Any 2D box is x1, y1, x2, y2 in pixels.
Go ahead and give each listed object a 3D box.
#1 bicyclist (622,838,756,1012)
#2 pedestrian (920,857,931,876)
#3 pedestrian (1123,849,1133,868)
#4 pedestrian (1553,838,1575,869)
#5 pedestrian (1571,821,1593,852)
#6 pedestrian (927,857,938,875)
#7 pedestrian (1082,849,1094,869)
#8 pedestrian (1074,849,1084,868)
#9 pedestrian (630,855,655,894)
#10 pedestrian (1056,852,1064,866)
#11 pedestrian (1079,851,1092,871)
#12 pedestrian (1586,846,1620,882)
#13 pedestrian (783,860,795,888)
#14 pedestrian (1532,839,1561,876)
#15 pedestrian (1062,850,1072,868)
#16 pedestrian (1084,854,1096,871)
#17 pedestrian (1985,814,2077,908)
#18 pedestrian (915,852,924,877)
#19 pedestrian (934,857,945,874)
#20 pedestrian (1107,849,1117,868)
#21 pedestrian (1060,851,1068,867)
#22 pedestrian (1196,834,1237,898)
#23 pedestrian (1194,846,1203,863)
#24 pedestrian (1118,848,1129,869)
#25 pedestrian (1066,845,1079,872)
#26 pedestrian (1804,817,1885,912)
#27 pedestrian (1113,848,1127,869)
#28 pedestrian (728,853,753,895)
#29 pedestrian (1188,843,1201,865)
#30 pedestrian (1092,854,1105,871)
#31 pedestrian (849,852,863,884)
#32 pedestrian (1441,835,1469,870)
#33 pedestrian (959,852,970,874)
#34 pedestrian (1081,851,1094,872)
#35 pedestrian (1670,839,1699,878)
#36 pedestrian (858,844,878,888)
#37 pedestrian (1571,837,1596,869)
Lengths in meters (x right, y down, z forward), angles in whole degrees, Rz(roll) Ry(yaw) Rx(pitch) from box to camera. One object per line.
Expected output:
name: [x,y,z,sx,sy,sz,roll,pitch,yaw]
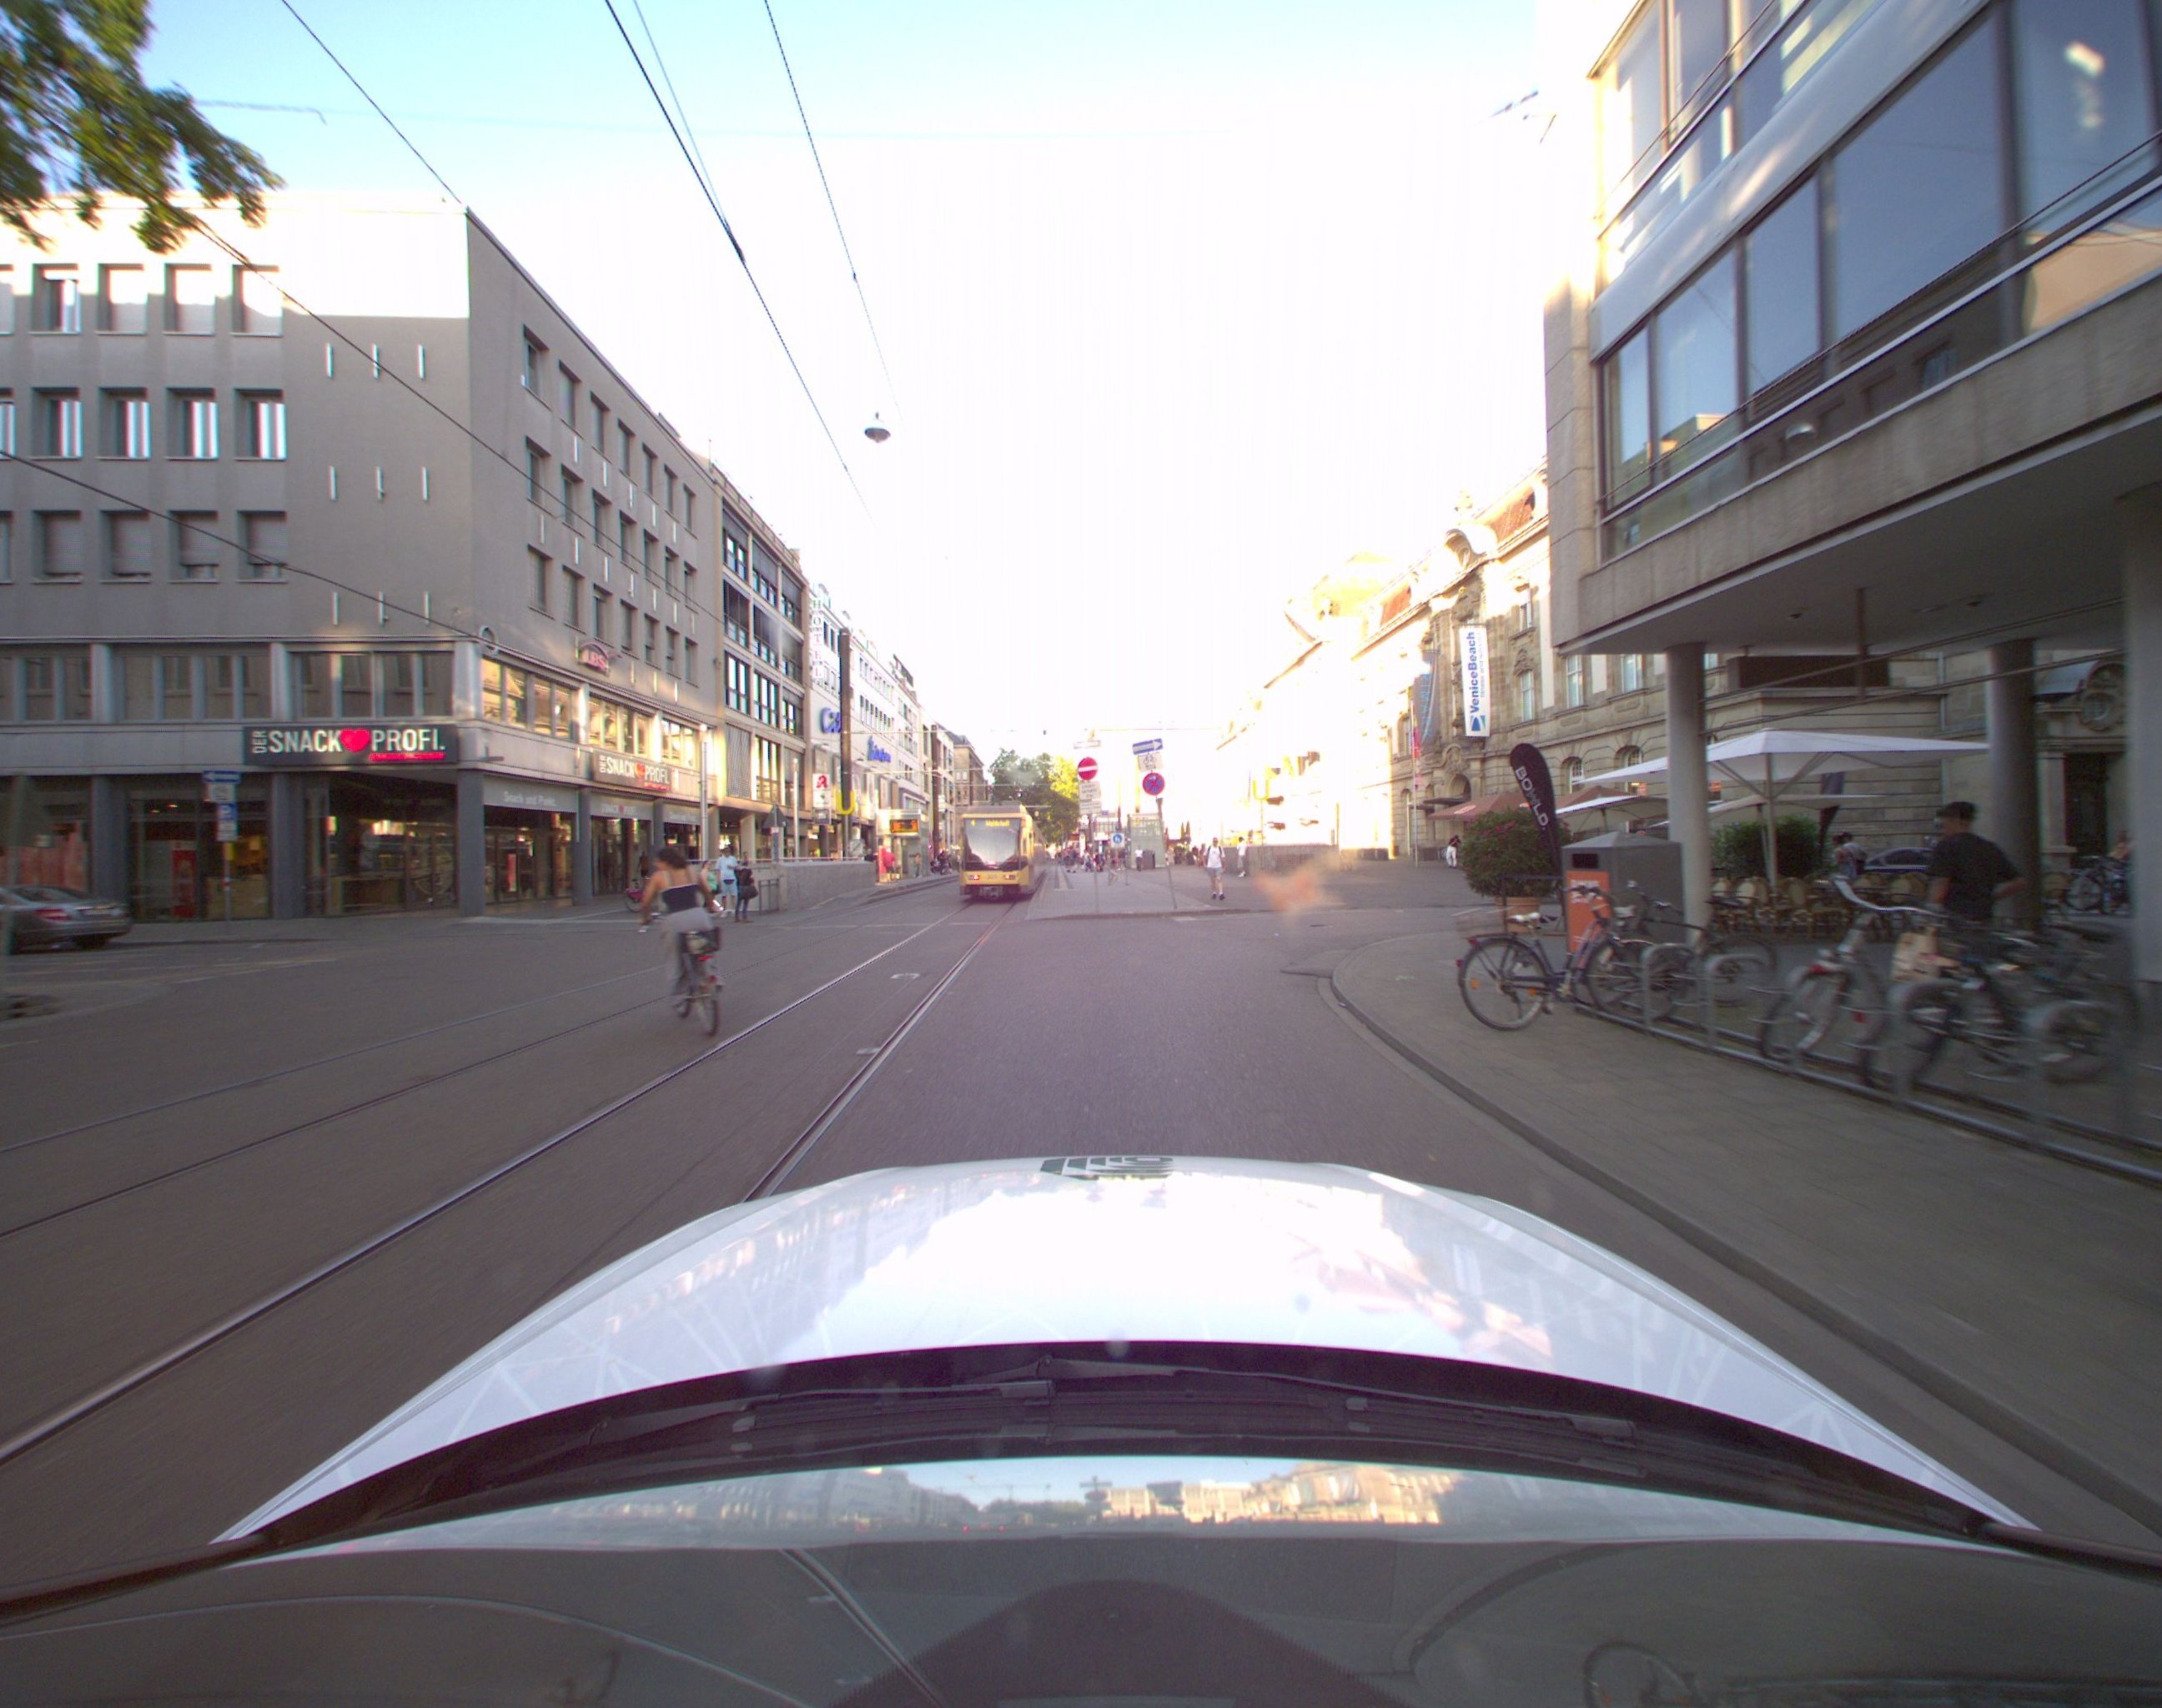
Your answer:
bicyclist: [-3.693,0.622,7.665,1.004,1.502,0.848,1,-2,-35]
pedestrian: [-11.276,0.887,59.054,0.705,1.379,0.720,-1,-1,-3]
pedestrian: [4.092,0.378,71.303,0.787,1.661,0.771,-1,0,10]
pedestrian: [20.981,-0.014,35.385,0.591,1.308,0.581,-1,2,-7]
pedestrian: [21.662,-0.764,35.215,0.591,1.308,0.581,-1,2,-4]
pedestrian: [-11.173,0.898,61.159,0.705,1.379,0.720,-1,-1,-3]
pedestrian: [0.583,0.390,67.481,0.787,1.661,0.771,-1,0,10]
pedestrian: [-0.185,0.426,72.243,0.787,1.661,0.771,-1,0,10]
pedestrian: [-19.405,0.899,36.078,0.712,1.725,0.708,-1,-1,-4]
pedestrian: [-2.456,0.585,95.158,0.762,1.661,0.796,-1,0,7]
pedestrian: [0.335,0.593,66.958,0.759,1.579,0.799,-1,0,28]
pedestrian: [18.535,0.335,28.951,0.773,1.242,0.831,0,2,12]
pedestrian: [-16.445,1.116,45.851,0.508,1.547,0.516,-1,-1,-10]
pedestrian: [18.182,0.131,31.820,0.799,1.382,0.655,0,2,9]
pedestrian: [-1.276,0.463,75.202,0.762,1.661,0.797,-1,0,10]
pedestrian: [0.649,0.631,60.017,0.791,1.221,0.768,-1,0,-6]
pedestrian: [19.316,0.123,16.586,0.863,1.839,0.872,-2,2,-7]
pedestrian: [-10.182,0.664,51.411,0.511,1.617,0.503,-1,-1,-11]
pedestrian: [-11.186,0.918,64.407,0.705,1.379,0.720,-1,-1,-3]
pedestrian: [2.868,0.415,75.367,0.787,1.661,0.771,-1,0,10]
pedestrian: [-1.861,0.548,89.722,0.787,1.661,0.771,-1,0,10]
pedestrian: [4.023,0.361,24.276,1.011,1.863,1.041,-1,-1,-3]
pedestrian: [12.672,0.016,87.876,0.771,1.825,0.849,-1,0,-5]
pedestrian: [3.500,0.363,67.736,0.787,1.661,0.771,-1,0,10]
pedestrian: [-0.591,0.331,56.546,0.735,1.823,0.815,-1,0,-16]
pedestrian: [15.174,0.196,16.205,0.801,1.839,0.873,0,0,-2]
pedestrian: [3.069,0.346,64.454,0.773,1.661,0.785,-1,0,-43]
pedestrian: [-14.238,0.824,34.080,0.712,1.725,0.708,-1,-1,-4]
pedestrian: [9.491,0.007,68.141,0.845,1.823,0.774,-1,0,-3]
pedestrian: [1.271,0.620,59.236,0.791,1.221,0.768,-1,0,-6]
pedestrian: [-11.474,0.701,41.616,0.603,1.588,0.626,-1,-1,-11]
pedestrian: [17.175,-0.087,37.431,0.846,1.565,0.848,-2,1,-6]
pedestrian: [-9.534,0.746,66.691,0.771,1.725,0.709,-1,-1,-2]
pedestrian: [0.500,0.567,62.853,0.759,1.579,0.799,-1,0,28]
pedestrian: [21.523,0.148,29.061,0.657,1.308,0.777,-1,3,23]
pedestrian: [-9.450,0.530,36.127,0.713,1.925,0.708,-1,-1,-7]
pedestrian: [21.123,-0.034,34.239,0.606,1.308,0.607,-1,2,-7]
